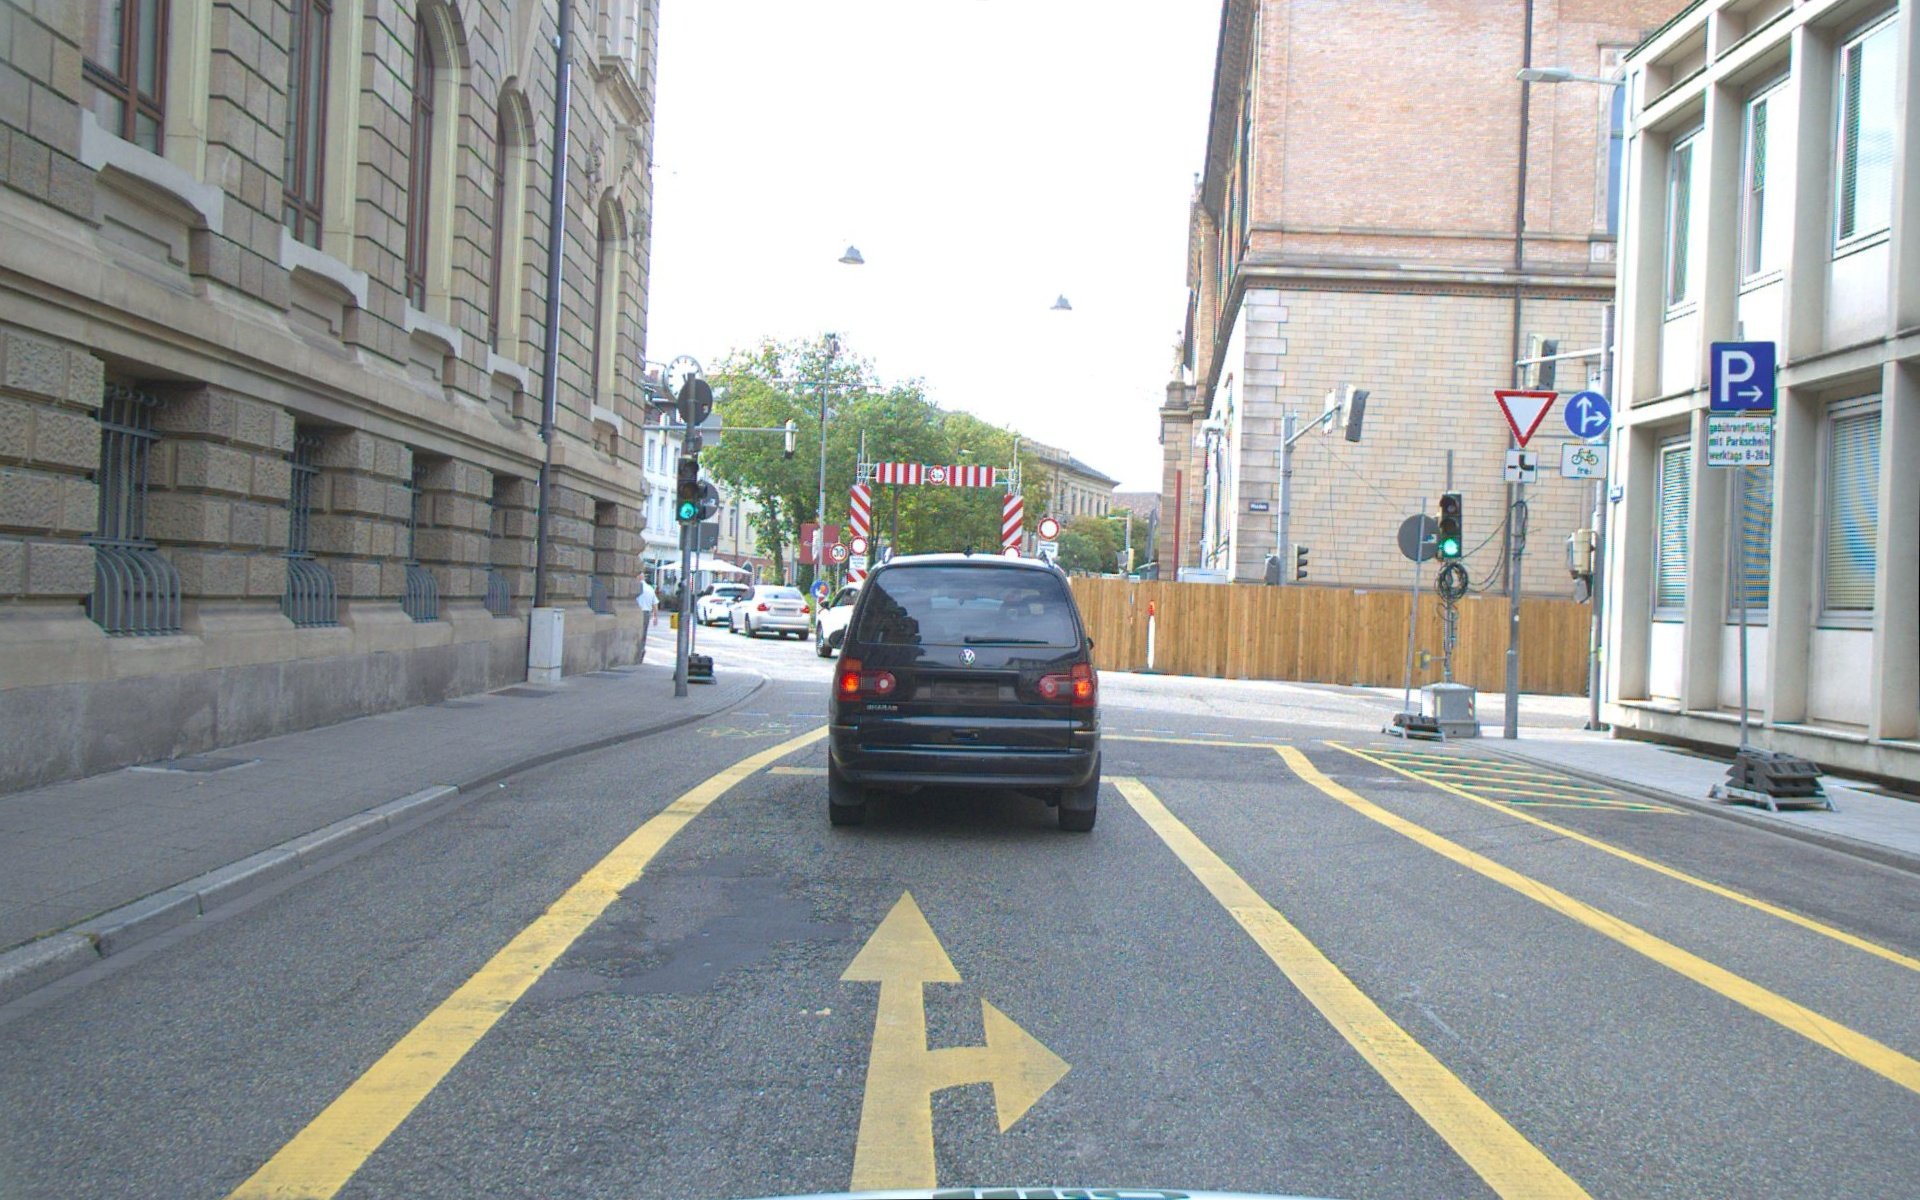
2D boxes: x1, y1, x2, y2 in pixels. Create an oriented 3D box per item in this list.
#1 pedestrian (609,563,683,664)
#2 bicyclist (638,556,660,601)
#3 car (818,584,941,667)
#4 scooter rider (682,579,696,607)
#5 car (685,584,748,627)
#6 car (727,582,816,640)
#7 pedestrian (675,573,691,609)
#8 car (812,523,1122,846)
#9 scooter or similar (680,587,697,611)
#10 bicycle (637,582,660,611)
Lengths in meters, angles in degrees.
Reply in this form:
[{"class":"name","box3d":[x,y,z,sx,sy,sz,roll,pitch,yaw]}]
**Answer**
[{"class":"pedestrian","box3d":[-6.029,0.264,31.783,1.027,1.851,0.792,3,-1,35]},{"class":"bicyclist","box3d":[-14.153,-0.958,75.318,0.909,1.997,1.103,2,-1,-10]},{"class":"car","box3d":[-1.760,0.511,34.866,1.744,1.613,3.984,2,0,-15]},{"class":"scooter rider","box3d":[-14.822,-0.361,90.498,0.587,1.516,0.679,2,-1,3]},{"class":"car","box3d":[-8.174,0.162,55.341,1.622,1.344,3.660,2,0,-15]},{"class":"car","box3d":[-5.337,0.292,46.381,1.677,1.527,3.979,2,0,-18]},{"class":"pedestrian","box3d":[-15.913,-0.530,94.967,0.573,2.049,0.687,2,-1,15]},{"class":"car","box3d":[0.078,0.505,11.773,1.753,1.821,4.103,2,0,1]},{"class":"scooter or similar","box3d":[-14.841,-0.074,90.462,0.587,1.277,1.553,2,0,3]},{"class":"bicycle","box3d":[-14.172,-0.163,75.322,0.909,1.277,2.535,2,0,-9]}]
